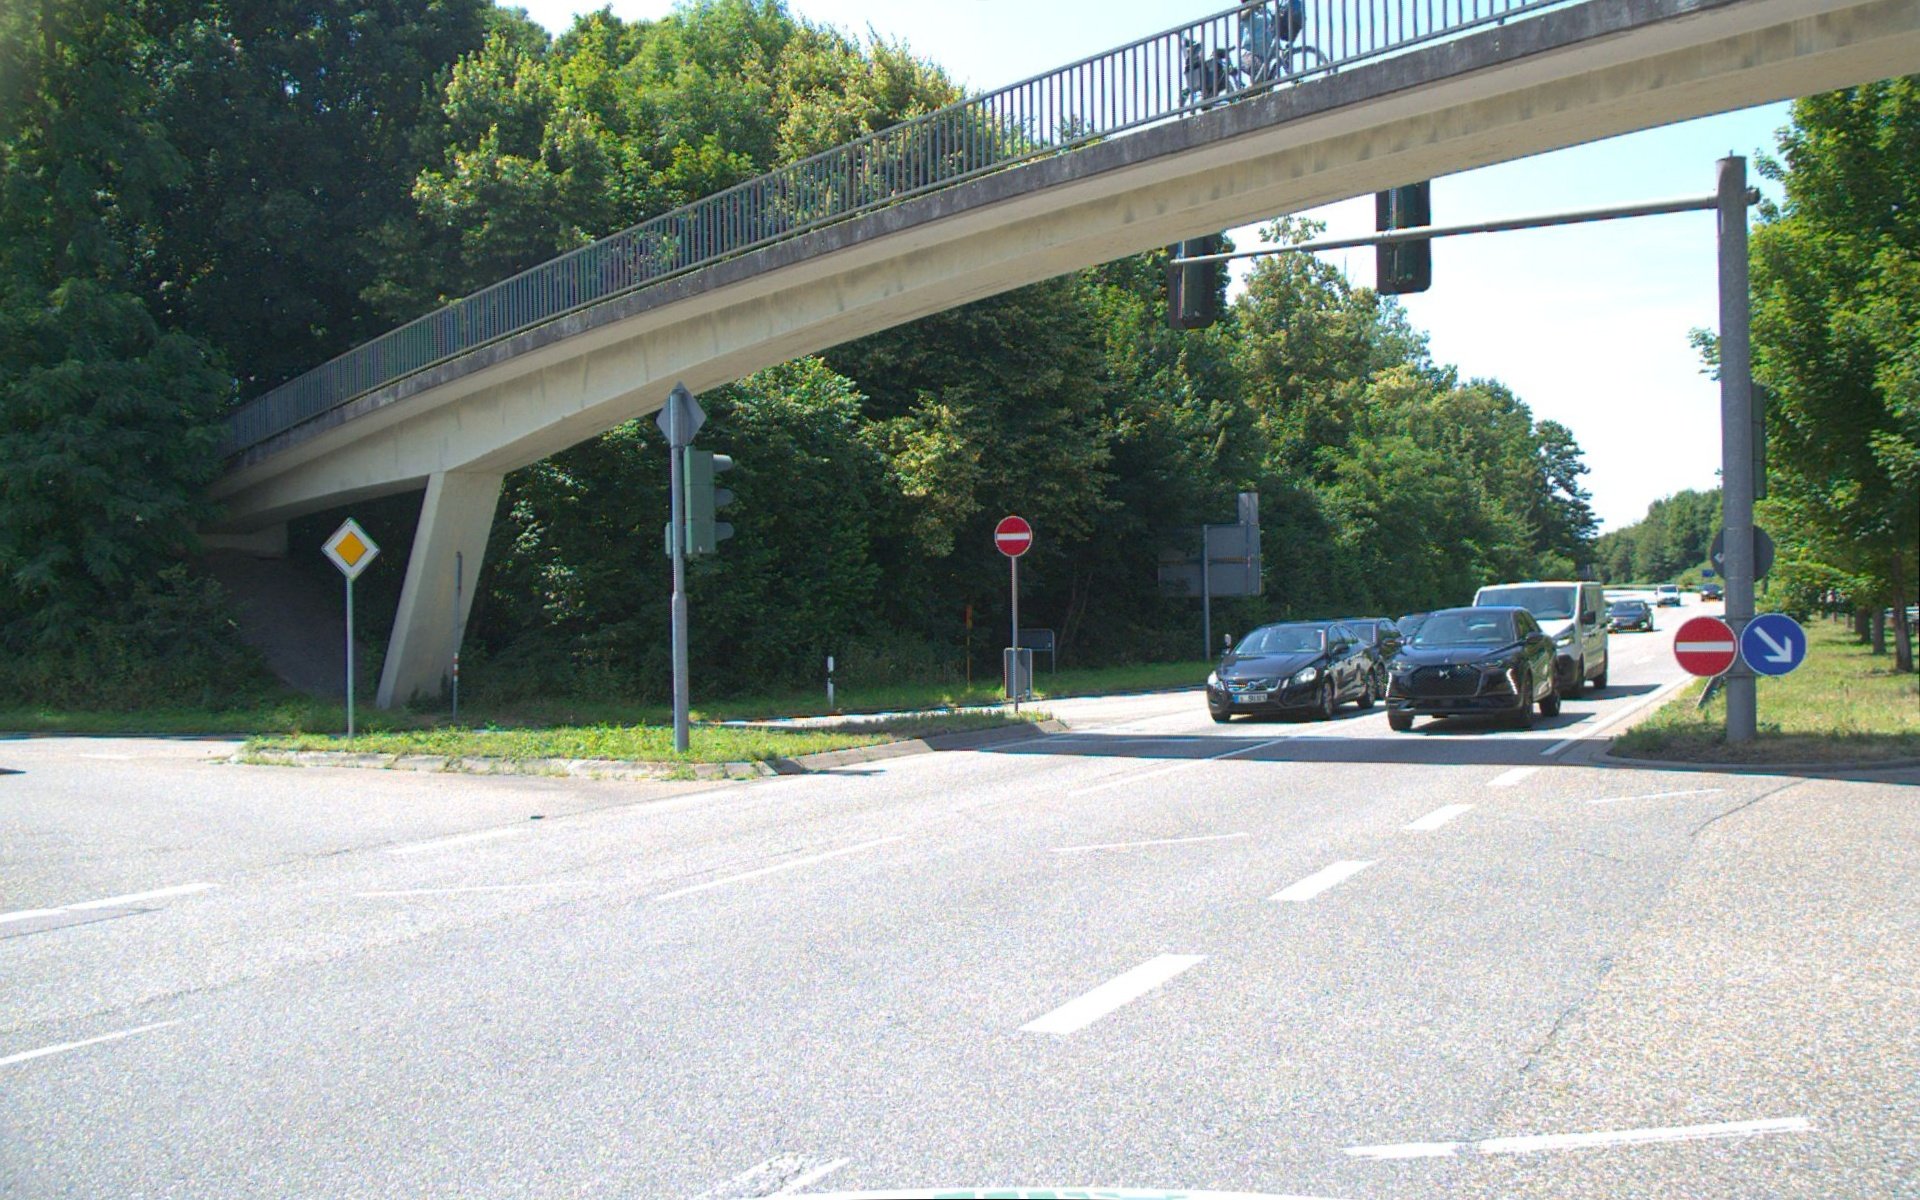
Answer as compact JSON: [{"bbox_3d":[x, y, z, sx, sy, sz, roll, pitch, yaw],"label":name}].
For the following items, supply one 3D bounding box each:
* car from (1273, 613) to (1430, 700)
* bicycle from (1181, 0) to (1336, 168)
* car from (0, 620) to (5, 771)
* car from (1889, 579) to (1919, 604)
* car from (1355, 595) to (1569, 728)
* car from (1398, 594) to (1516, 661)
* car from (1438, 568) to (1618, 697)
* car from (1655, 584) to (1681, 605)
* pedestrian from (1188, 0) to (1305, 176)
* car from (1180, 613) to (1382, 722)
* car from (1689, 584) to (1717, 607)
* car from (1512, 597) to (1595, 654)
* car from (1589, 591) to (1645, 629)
[{"bbox_3d":[7.564,1.043,31.705,1.969,1.486,4.050,-3,-1,27],"label":"car"},{"bbox_3d":[3.003,-5.337,16.750,1.505,1.500,0.466,-4,-4,44],"label":"bicycle"},{"bbox_3d":[-13.926,1.210,20.944,3.904,1.857,1.847,0,1,38],"label":"car"},{"bbox_3d":[69.184,-0.611,121.090,2.004,1.728,5.076,-1,0,30],"label":"car"},{"bbox_3d":[6.767,0.770,22.007,1.955,1.550,4.023,-4,-2,27],"label":"car"},{"bbox_3d":[11.922,0.637,39.543,1.969,1.486,4.050,-1,-1,27],"label":"car"},{"bbox_3d":[10.167,0.538,29.294,2.166,2.028,5.481,-3,-1,27],"label":"car"},{"bbox_3d":[62.035,-0.455,144.946,1.954,1.780,3.997,1,0,25],"label":"car"},{"bbox_3d":[2.969,-5.653,17.175,0.771,2.177,0.925,-4,-4,44],"label":"pedestrian"},{"bbox_3d":[5.058,1.001,25.650,1.969,1.486,4.050,-3,-1,27],"label":"car"},{"bbox_3d":[70.287,-0.407,156.485,1.952,2.049,4.001,1,0,19],"label":"car"},{"bbox_3d":[18.236,0.756,50.752,1.825,1.644,4.050,-3,-1,27],"label":"car"},{"bbox_3d":[30.667,0.456,77.162,1.969,1.629,4.050,-3,-1,27],"label":"car"}]
